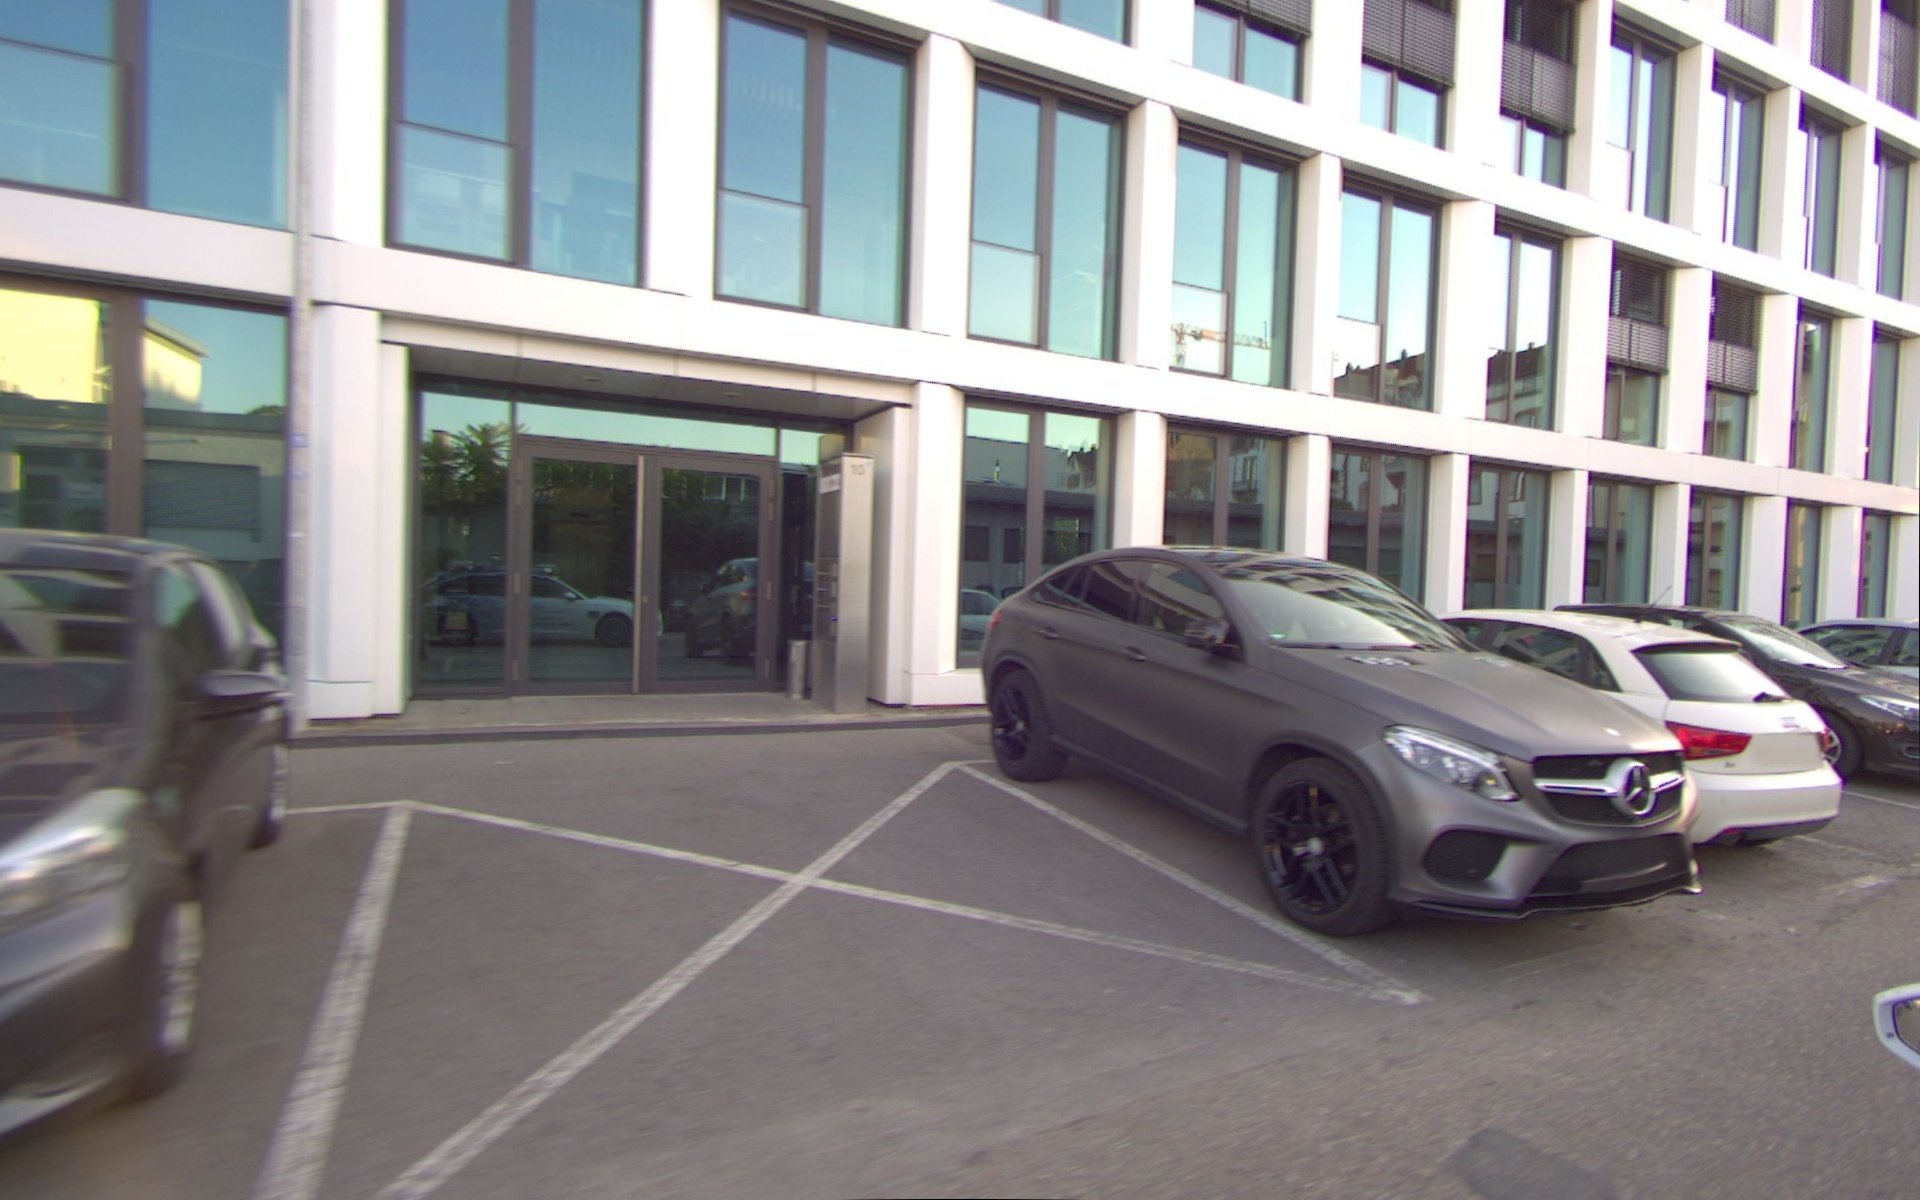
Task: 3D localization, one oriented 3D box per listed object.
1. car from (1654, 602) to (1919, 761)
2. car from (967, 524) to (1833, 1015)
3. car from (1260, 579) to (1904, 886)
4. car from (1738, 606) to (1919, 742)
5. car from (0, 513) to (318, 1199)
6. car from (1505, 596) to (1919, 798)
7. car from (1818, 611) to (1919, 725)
[{"bbox_3d":[10.376,0.886,11.465,1.666,1.532,3.641,1,2,-27],"label":"car"},{"bbox_3d":[1.892,0.513,6.028,1.976,1.729,4.606,1,2,-23],"label":"car"},{"bbox_3d":[4.102,0.685,7.333,1.672,1.532,3.657,1,2,-23],"label":"car"},{"bbox_3d":[12.223,0.943,12.487,1.666,1.532,3.641,1,2,-27],"label":"car"},{"bbox_3d":[-3.268,0.509,3.306,1.673,1.543,3.764,1,2,-29],"label":"car"},{"bbox_3d":[8.064,0.818,10.390,1.772,1.532,3.951,1,2,-26],"label":"car"},{"bbox_3d":[14.492,1.030,13.664,1.665,1.532,3.912,1,2,-26],"label":"car"}]
